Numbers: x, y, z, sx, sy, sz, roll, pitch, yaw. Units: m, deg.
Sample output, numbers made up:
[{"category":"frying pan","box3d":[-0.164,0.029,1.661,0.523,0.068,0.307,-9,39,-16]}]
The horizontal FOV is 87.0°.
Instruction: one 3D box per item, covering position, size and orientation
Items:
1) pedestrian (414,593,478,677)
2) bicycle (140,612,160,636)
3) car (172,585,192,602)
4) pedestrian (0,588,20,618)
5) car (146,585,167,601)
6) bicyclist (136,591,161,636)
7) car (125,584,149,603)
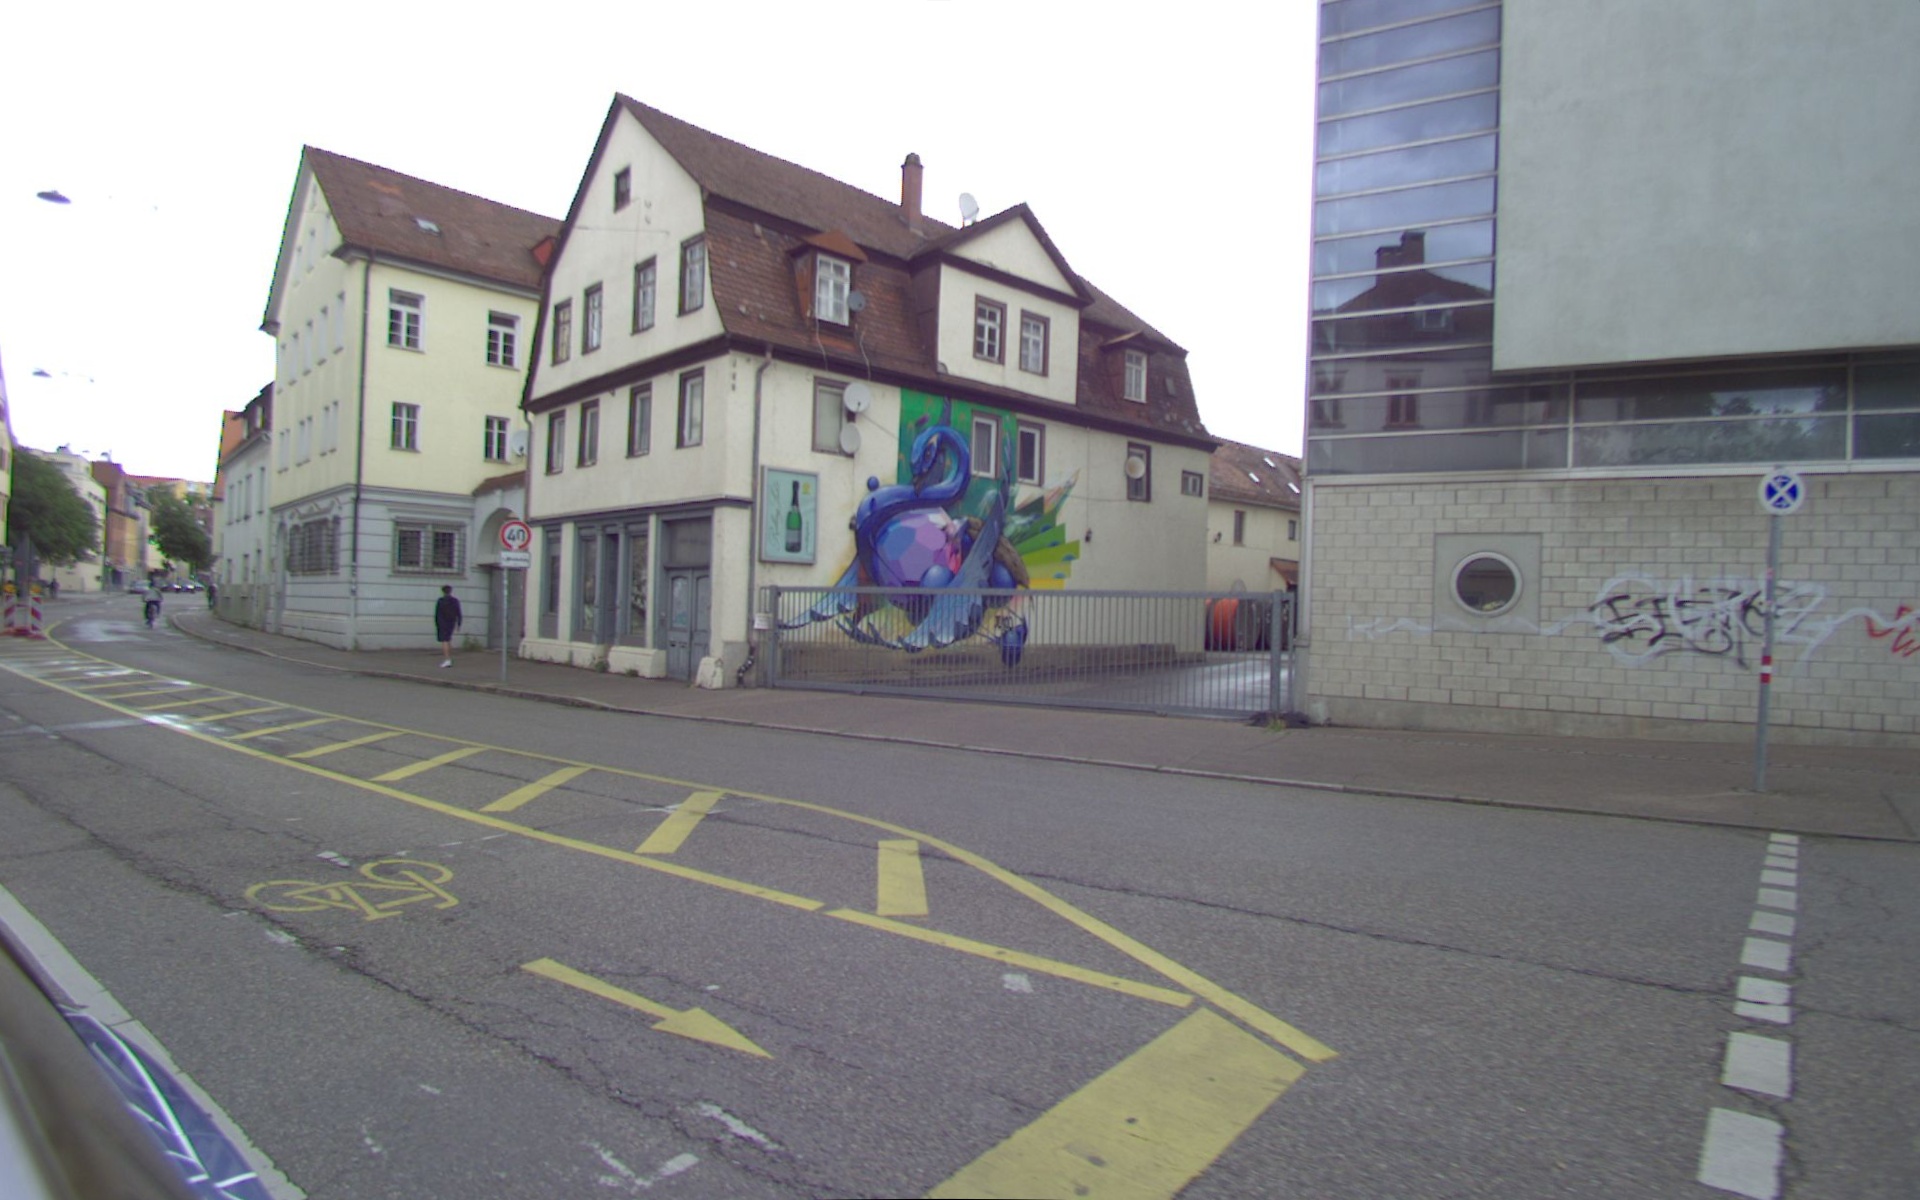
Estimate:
[{"category":"pedestrian","box3d":[-11.990,0.796,23.618,1.092,1.900,1.042,-2,-2,44]},{"category":"bicycle","box3d":[-31.908,0.949,39.871,0.534,0.899,1.883,2,-2,-40]},{"category":"car","box3d":[-99.258,-0.800,129.112,1.967,2.029,4.009,2,-2,-37]},{"category":"pedestrian","box3d":[-61.313,0.213,65.219,0.895,1.914,0.868,-1,-3,34]},{"category":"car","box3d":[-107.550,-0.946,135.470,1.967,2.029,4.009,2,-2,-37]},{"category":"bicyclist","box3d":[-31.908,0.539,39.802,0.714,1.714,0.812,2,-2,-40]},{"category":"car","box3d":[-95.571,-0.714,117.591,1.967,2.029,4.009,2,-2,-37]}]
